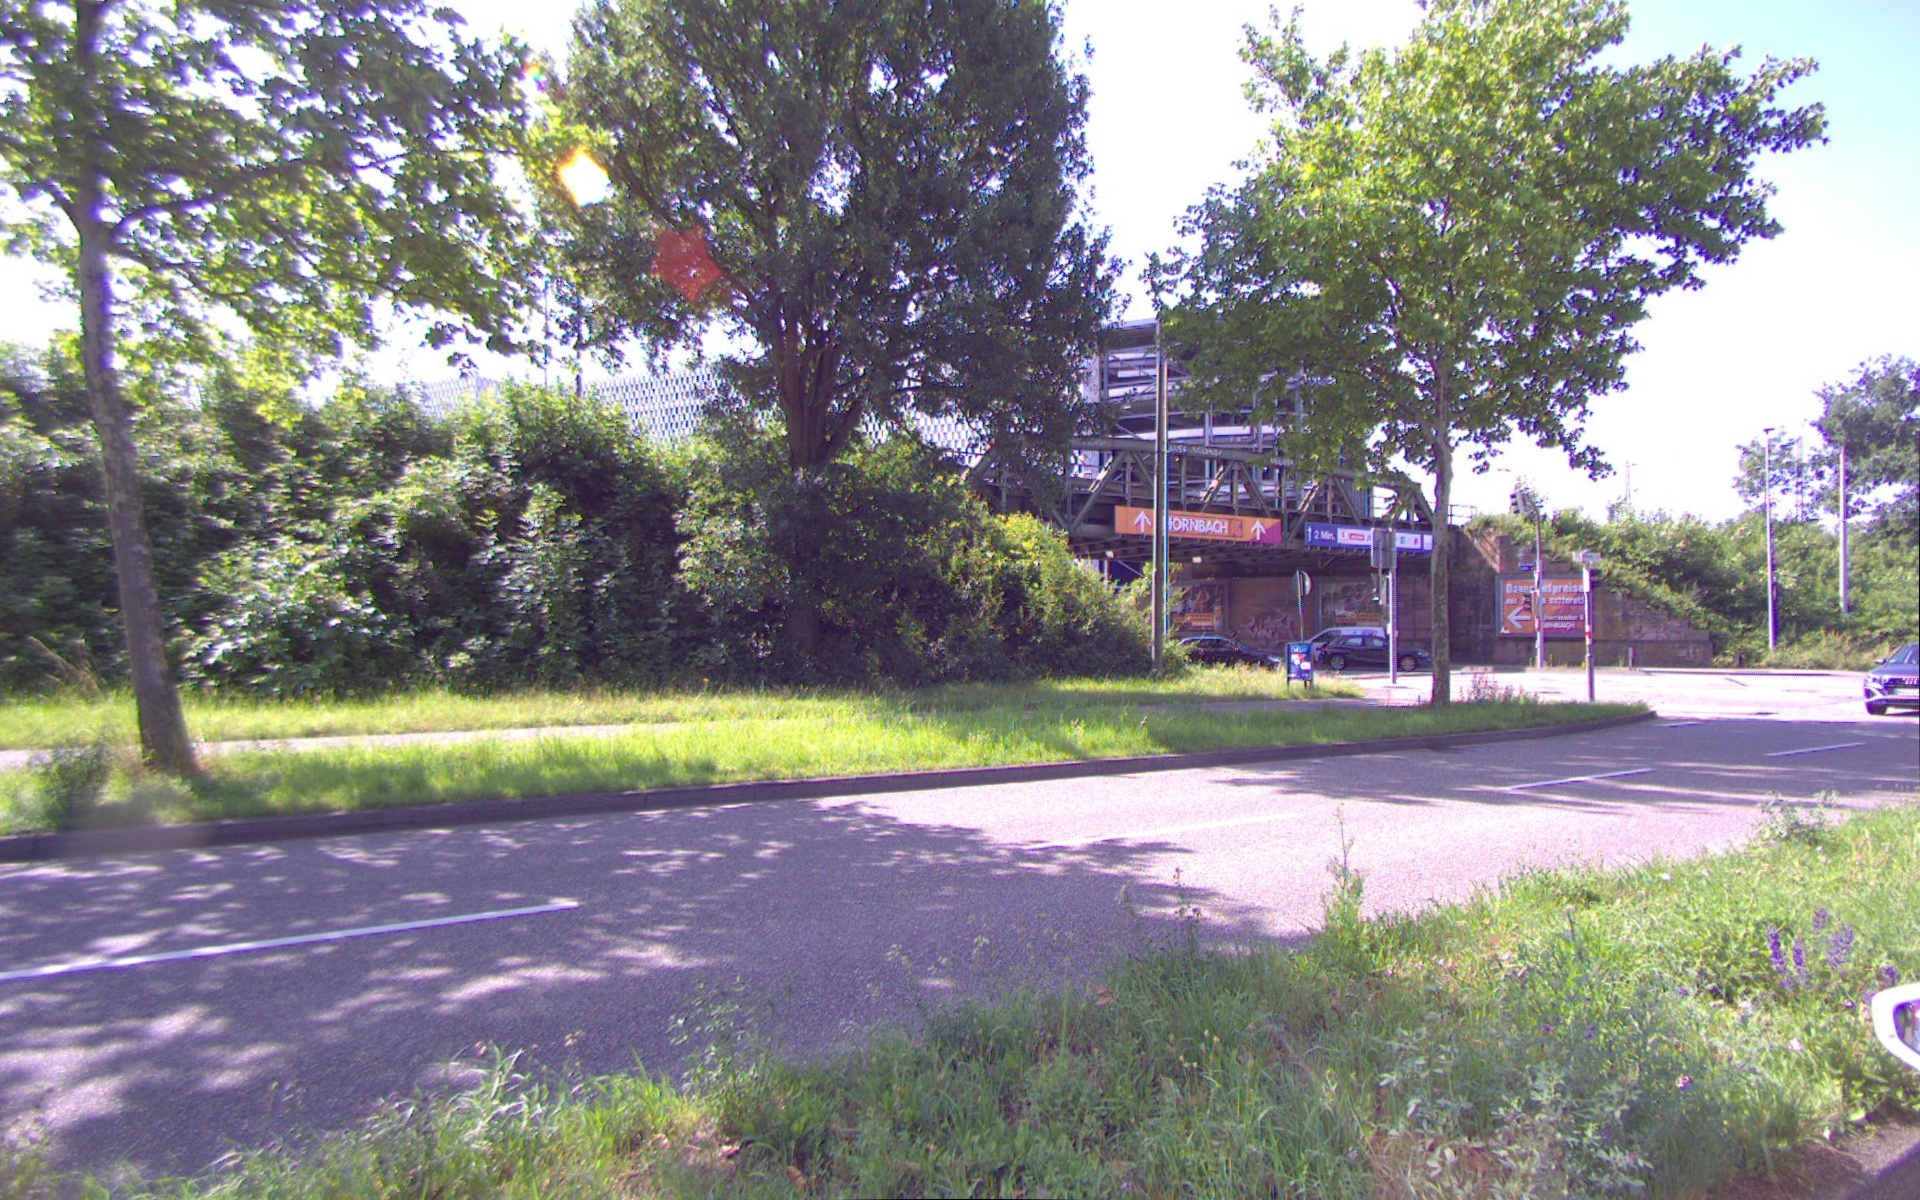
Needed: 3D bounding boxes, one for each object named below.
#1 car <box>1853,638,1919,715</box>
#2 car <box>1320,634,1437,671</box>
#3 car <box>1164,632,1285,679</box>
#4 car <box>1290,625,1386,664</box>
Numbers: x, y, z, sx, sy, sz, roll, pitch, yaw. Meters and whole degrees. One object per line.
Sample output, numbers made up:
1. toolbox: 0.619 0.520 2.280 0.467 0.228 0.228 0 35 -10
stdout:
1. car: 20.492 1.549 20.964 3.898 1.486 1.852 1 -3 -35
2. car: 16.807 2.088 40.391 4.253 1.413 1.770 -1 -2 24
3. car: 9.356 1.910 35.500 3.869 1.500 1.822 1 -1 25
4. car: 17.212 1.992 45.732 4.018 1.670 1.770 0 -1 24
